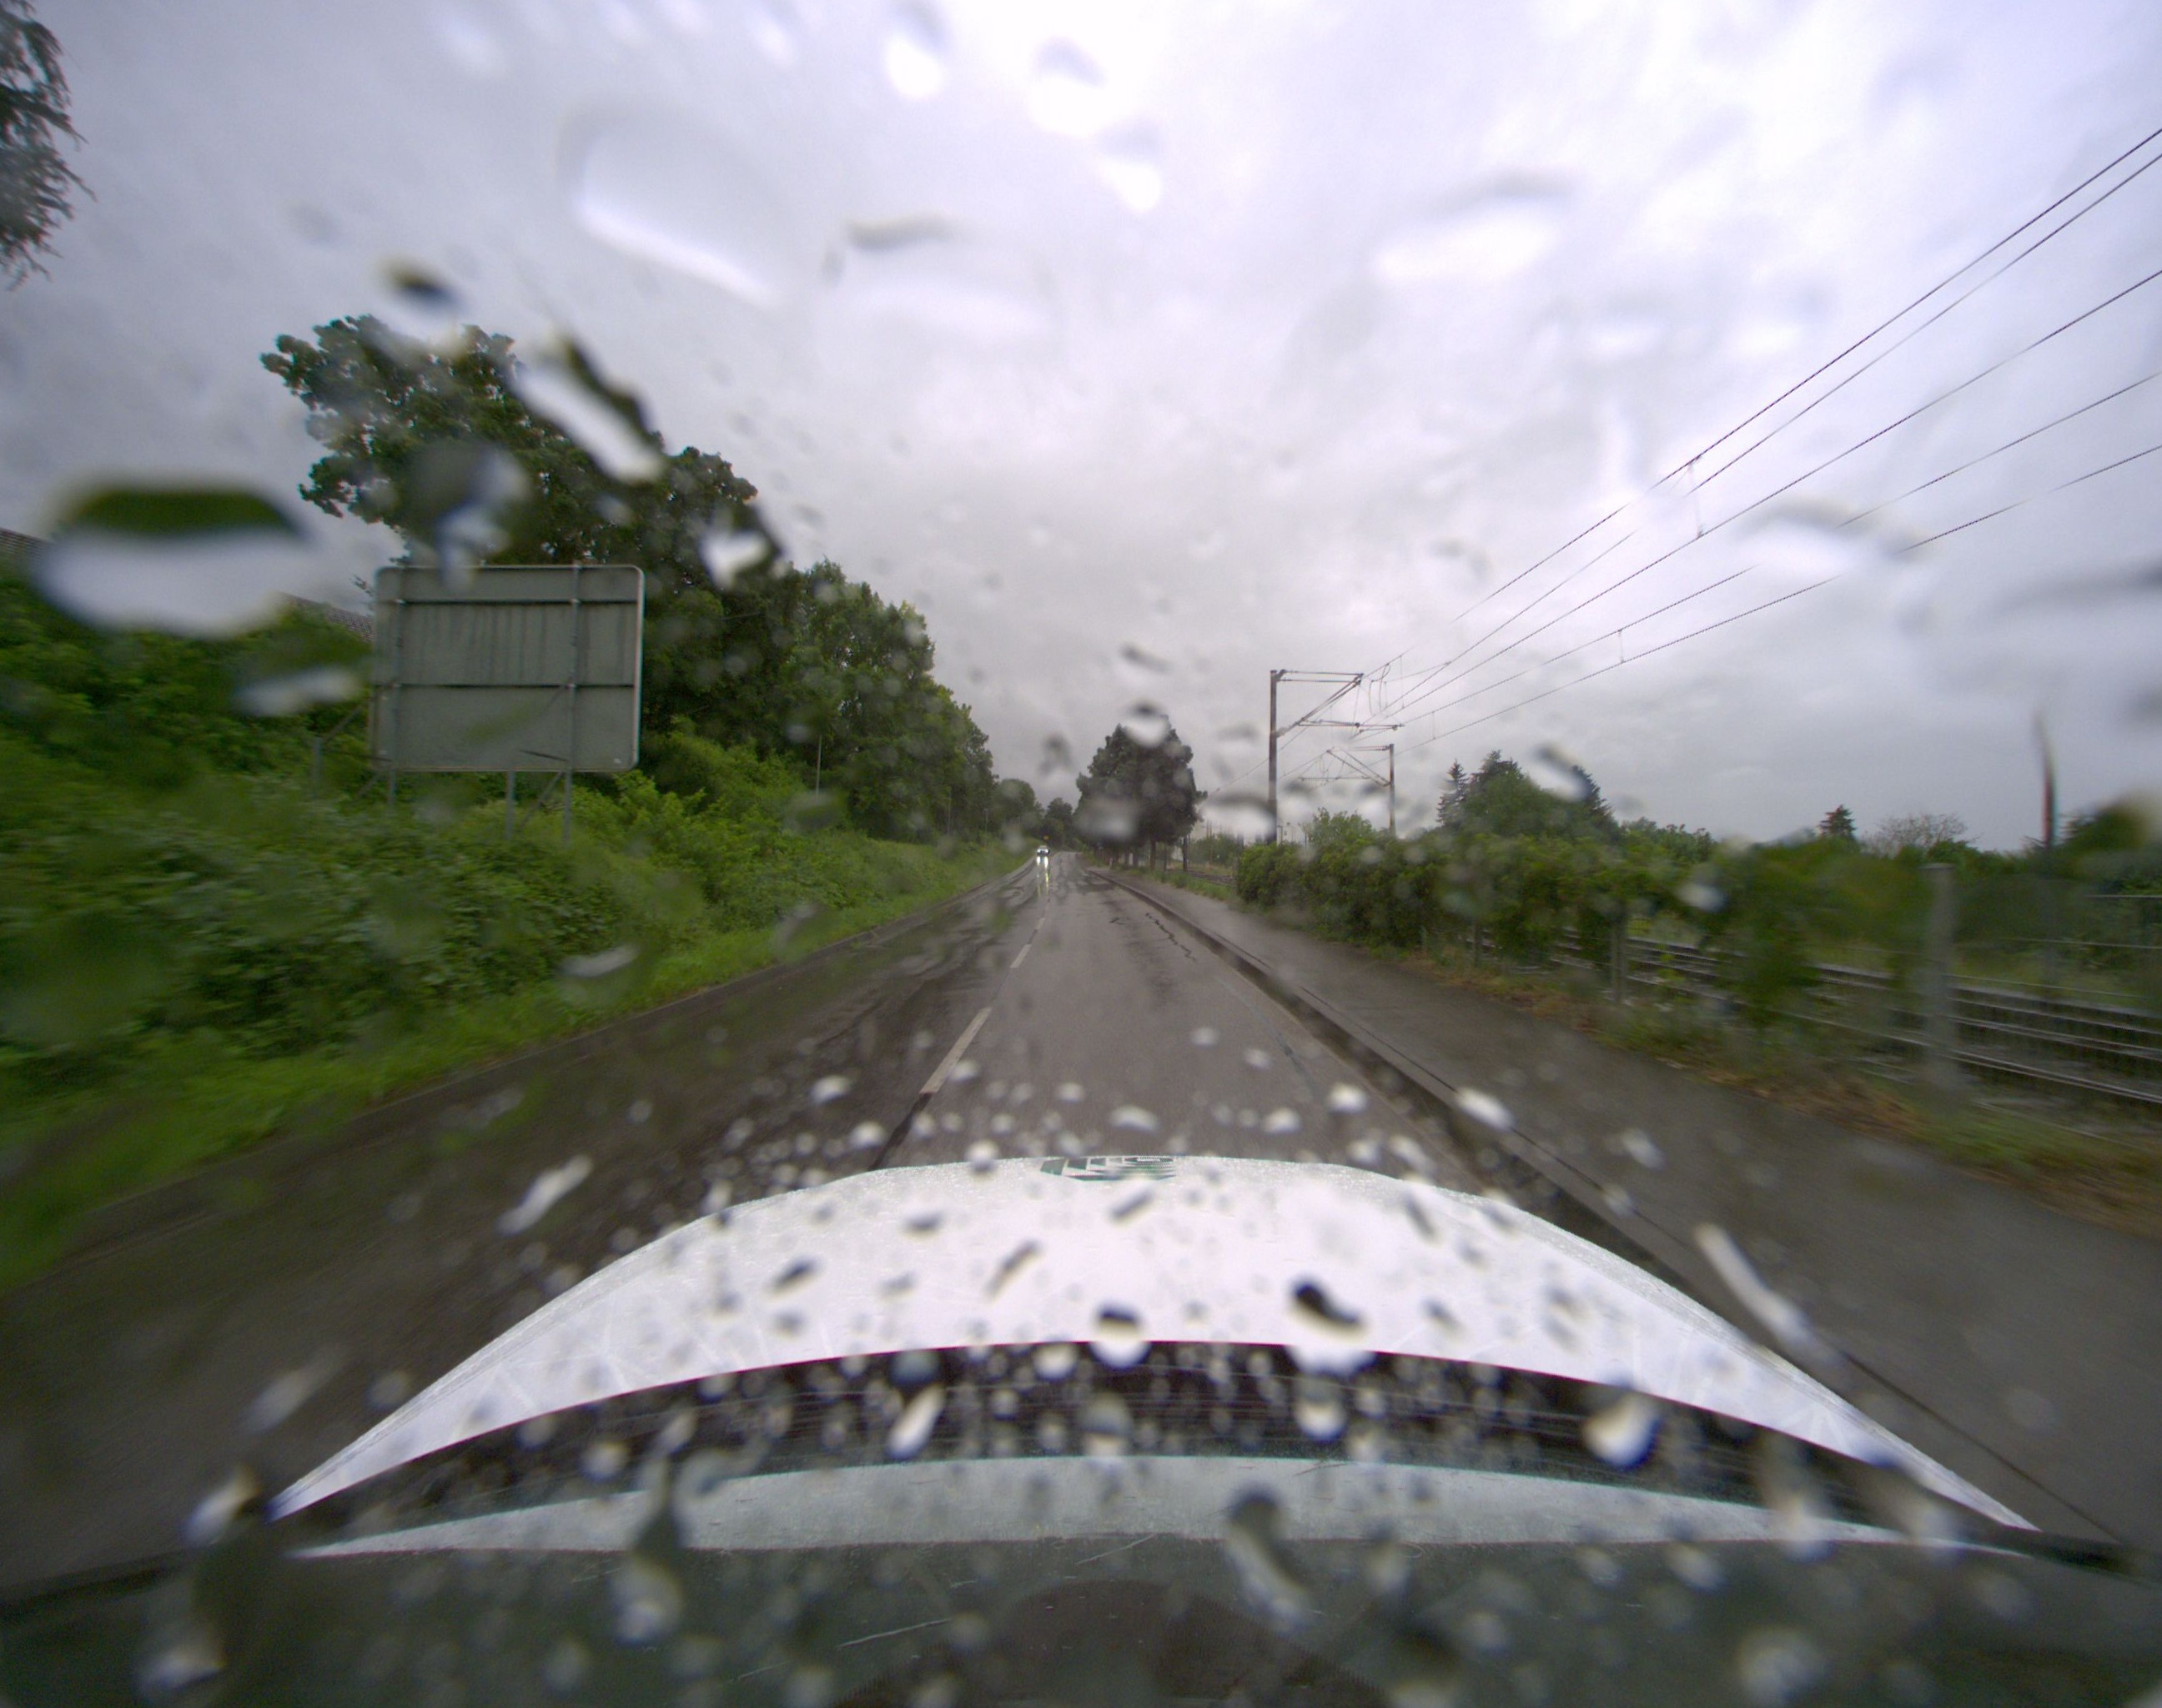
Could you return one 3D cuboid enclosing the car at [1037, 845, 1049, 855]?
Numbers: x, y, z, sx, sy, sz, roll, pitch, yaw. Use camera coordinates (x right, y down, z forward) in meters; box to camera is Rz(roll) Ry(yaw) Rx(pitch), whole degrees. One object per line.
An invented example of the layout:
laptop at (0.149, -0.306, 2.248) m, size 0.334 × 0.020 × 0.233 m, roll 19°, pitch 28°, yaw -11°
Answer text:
car at (-6.437, -0.669, 137.261) m, size 1.741 × 1.612 × 4.081 m, roll 1°, pitch 1°, yaw -5°
